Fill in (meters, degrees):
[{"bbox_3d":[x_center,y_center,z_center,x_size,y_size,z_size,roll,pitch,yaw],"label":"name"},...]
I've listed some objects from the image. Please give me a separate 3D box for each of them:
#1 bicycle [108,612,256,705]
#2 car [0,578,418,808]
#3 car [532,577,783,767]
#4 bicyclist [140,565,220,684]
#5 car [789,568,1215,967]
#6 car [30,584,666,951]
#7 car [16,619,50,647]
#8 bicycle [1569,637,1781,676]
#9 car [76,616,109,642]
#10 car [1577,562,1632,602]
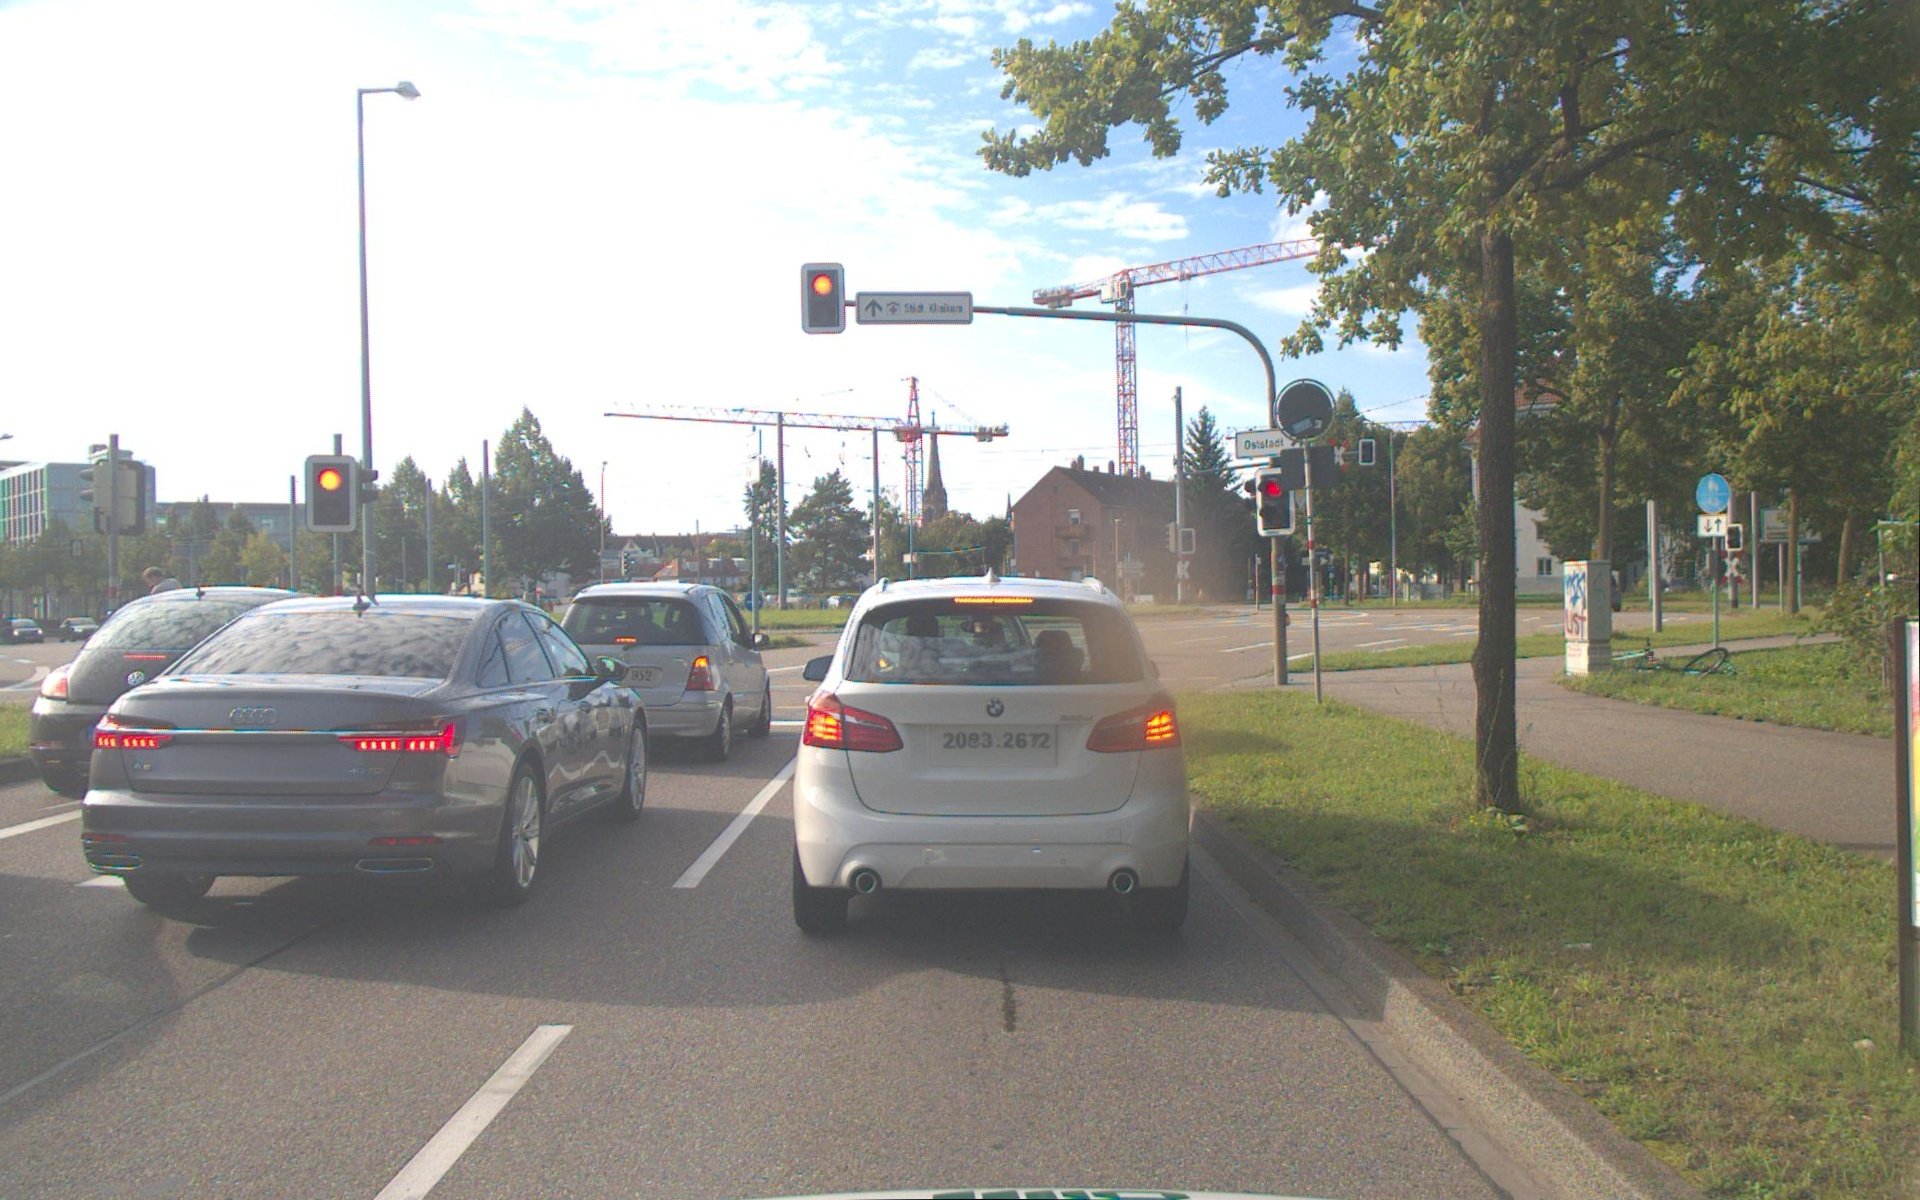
[{"bbox_3d":[-10.449,0.769,22.264,1.698,1.184,0.653,-1,0,-17],"label":"bicycle"},{"bbox_3d":[-5.715,0.626,13.094,1.646,1.549,3.809,0,0,-1],"label":"car"},{"bbox_3d":[-2.771,0.598,15.982,1.694,1.585,4.057,0,0,-1],"label":"car"},{"bbox_3d":[-10.482,0.324,22.254,0.835,1.553,0.737,-1,0,-17],"label":"bicyclist"},{"bbox_3d":[0.137,0.659,8.623,1.694,1.585,4.057,0,0,-1],"label":"car"},{"bbox_3d":[-2.927,0.697,9.125,1.851,1.509,4.612,0,0,-1],"label":"car"},{"bbox_3d":[-54.646,1.944,97.499,1.574,1.439,3.636,-3,-1,-28],"label":"car"},{"bbox_3d":[9.491,0.739,22.114,1.382,0.392,2.569,-1,0,-12],"label":"bicycle"},{"bbox_3d":[-52.527,1.740,100.094,1.598,1.490,3.693,-1,1,-30],"label":"car"},{"bbox_3d":[26.701,-0.755,68.566,1.536,1.601,3.202,0,2,10],"label":"car"}]
